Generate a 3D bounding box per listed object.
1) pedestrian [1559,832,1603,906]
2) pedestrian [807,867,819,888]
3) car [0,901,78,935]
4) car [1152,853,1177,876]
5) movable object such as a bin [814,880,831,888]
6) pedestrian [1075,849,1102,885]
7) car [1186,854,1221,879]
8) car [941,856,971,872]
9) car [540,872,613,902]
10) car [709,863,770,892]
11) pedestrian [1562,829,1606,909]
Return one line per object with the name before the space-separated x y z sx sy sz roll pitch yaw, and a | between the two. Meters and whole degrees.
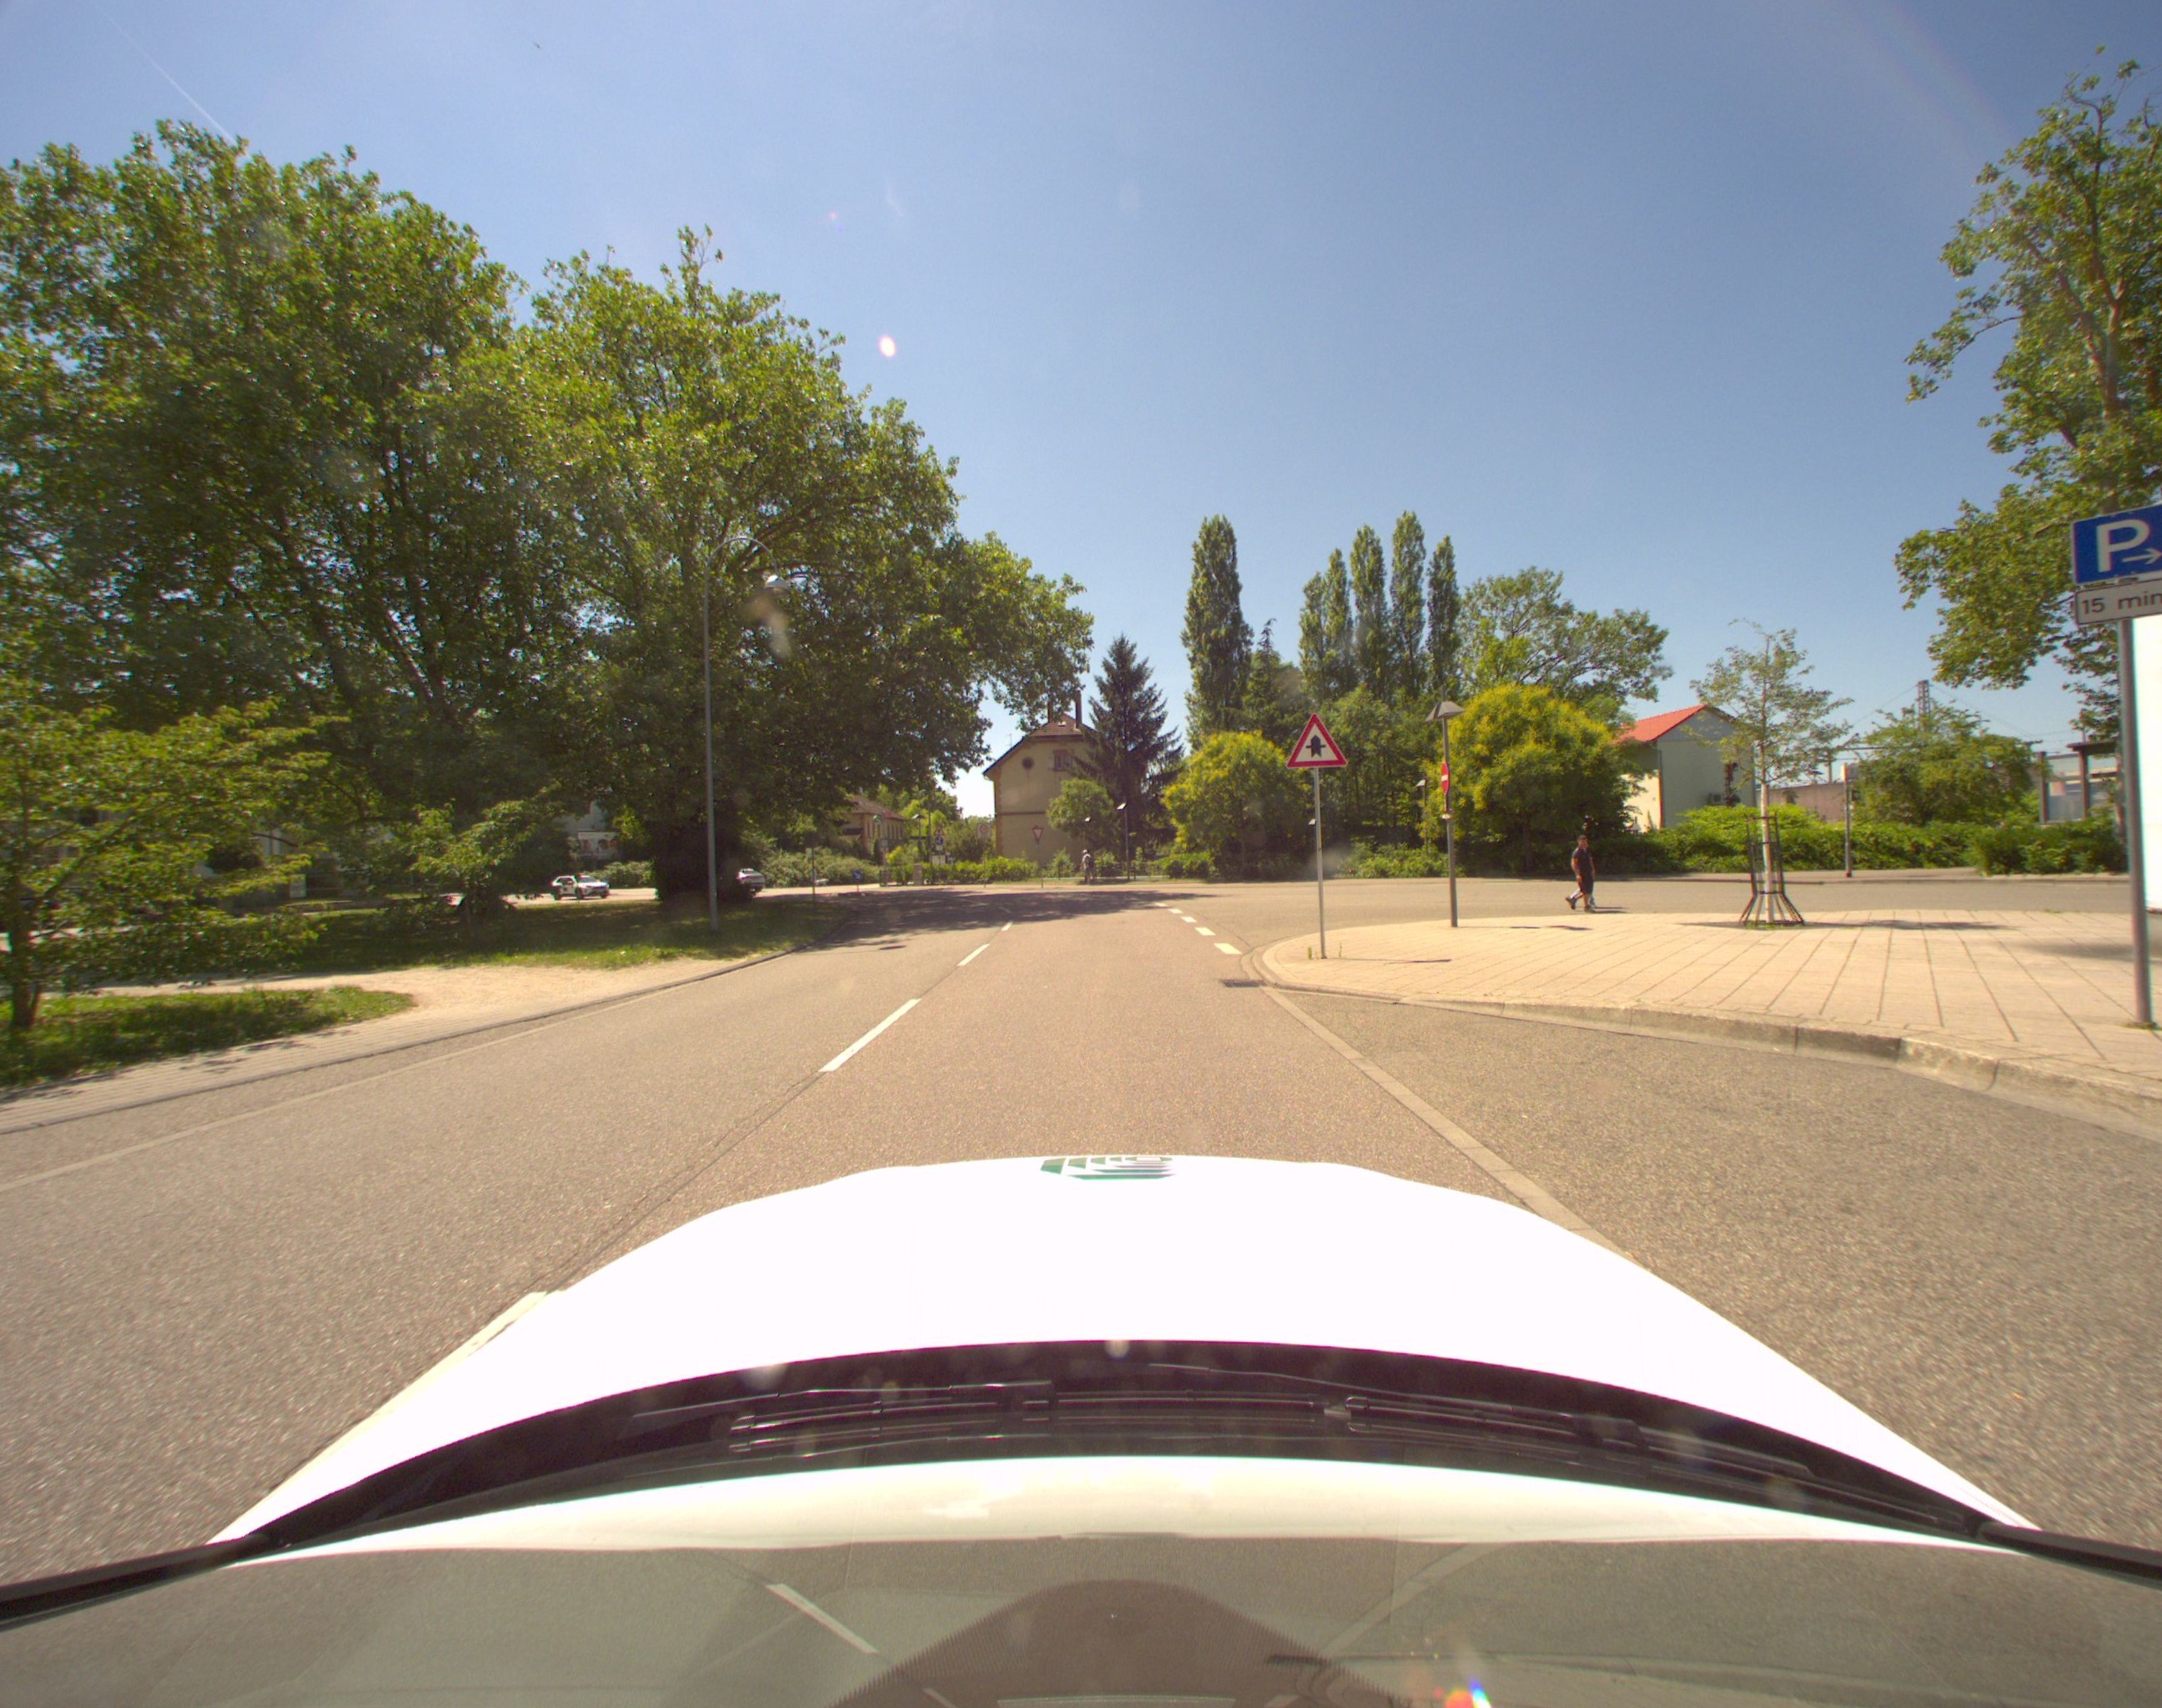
pedestrian | 12.118 0.360 19.759 0.668 1.736 0.920 -2 -1 20
pedestrian | -21.395 1.870 64.962 0.691 1.627 0.621 -1 0 34
car | -49.088 2.963 37.633 3.956 1.426 2.008 -2 -1 16
car | 5.942 0.753 58.041 1.642 1.536 3.976 -2 0 6
movable object such as a bin | -20.517 2.377 64.636 0.510 0.594 1.250 -2 0 42
pedestrian | 0.373 0.658 42.366 0.920 1.771 0.905 -6 2 -38
car | 8.020 0.804 53.561 1.758 1.499 4.502 -2 0 2
car | -20.377 1.601 133.042 4.424 2.322 2.205 -2 0 4
car | -34.916 2.263 56.377 4.272 1.747 2.060 -3 1 21
car | -24.140 1.721 57.564 4.413 1.615 1.953 -5 -10 37
pedestrian | 11.548 0.346 18.727 0.686 1.785 0.920 -2 -1 23
